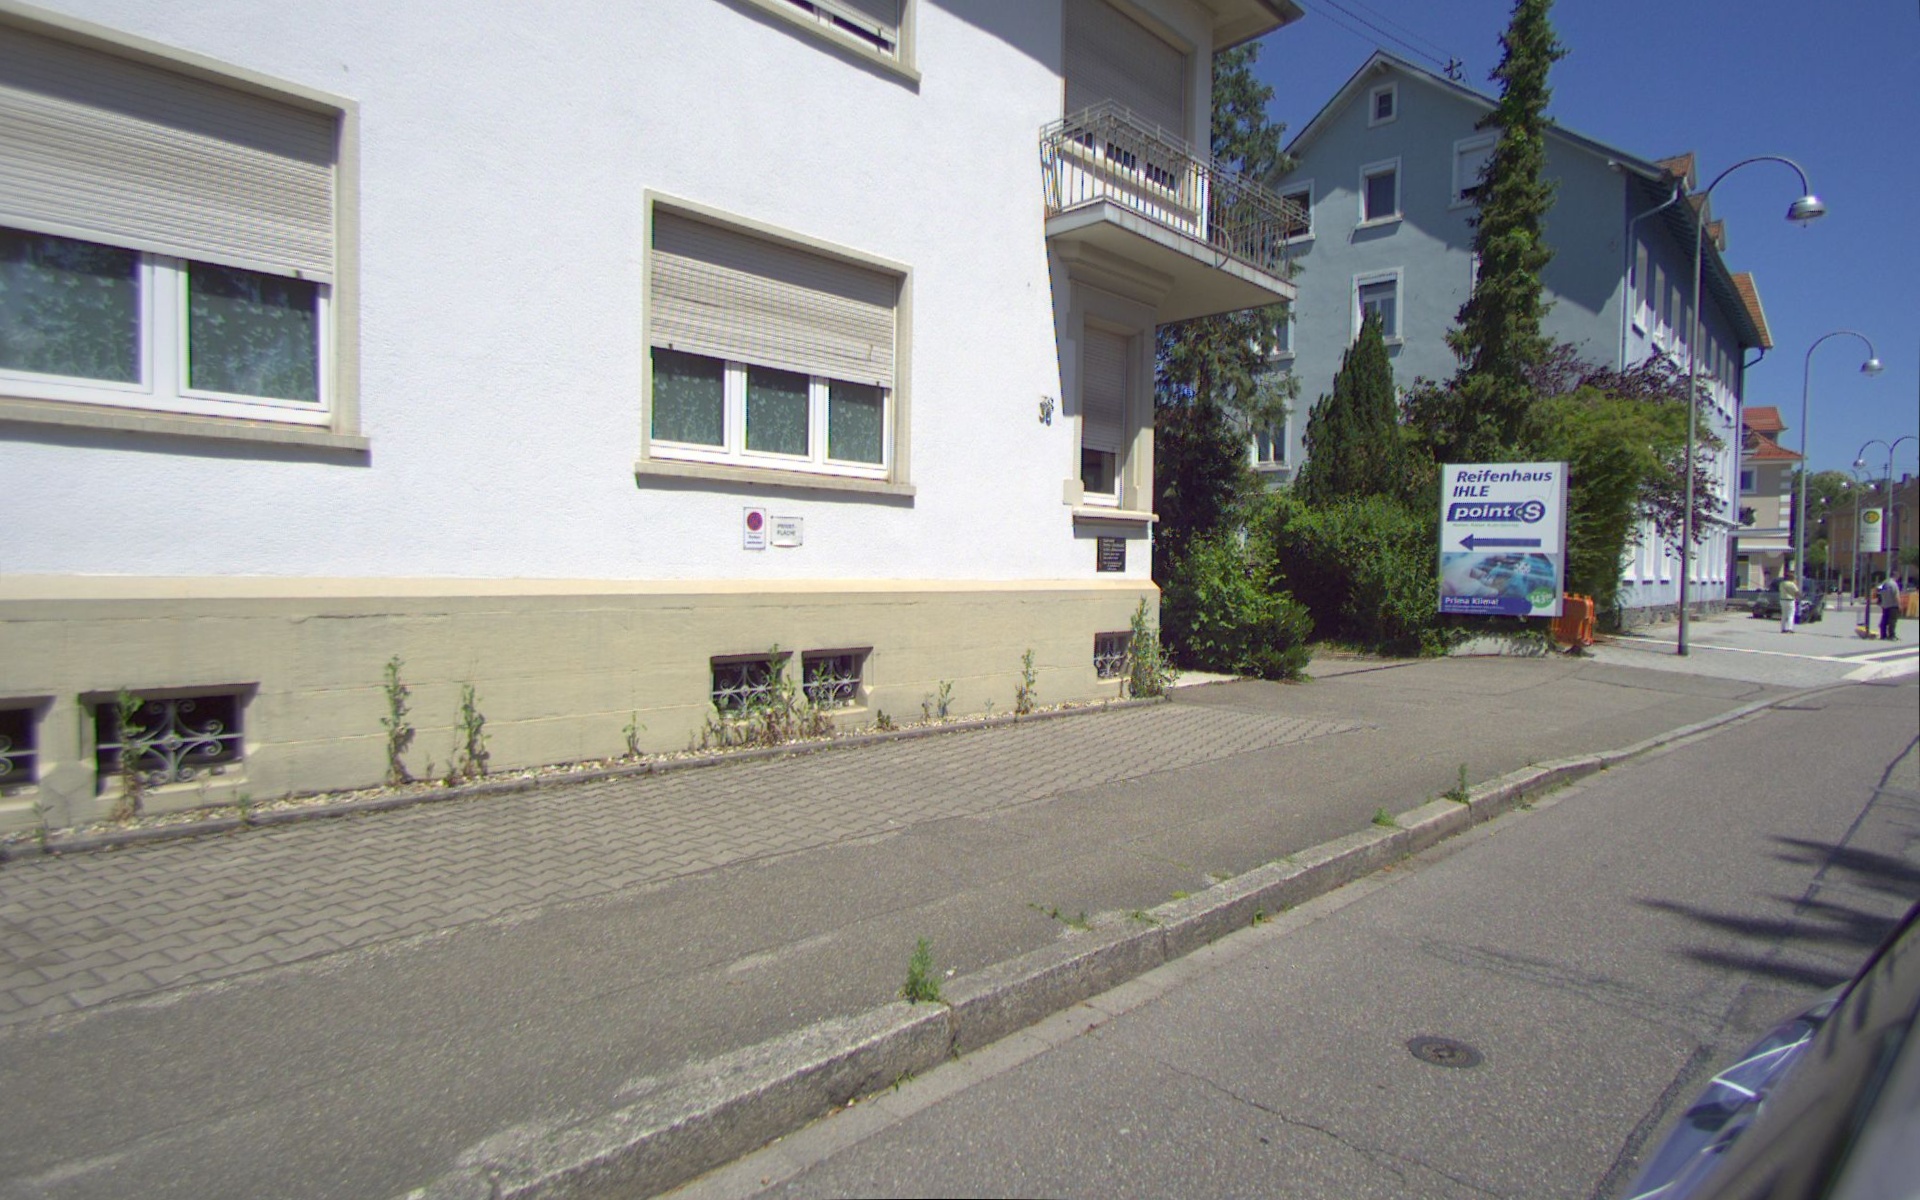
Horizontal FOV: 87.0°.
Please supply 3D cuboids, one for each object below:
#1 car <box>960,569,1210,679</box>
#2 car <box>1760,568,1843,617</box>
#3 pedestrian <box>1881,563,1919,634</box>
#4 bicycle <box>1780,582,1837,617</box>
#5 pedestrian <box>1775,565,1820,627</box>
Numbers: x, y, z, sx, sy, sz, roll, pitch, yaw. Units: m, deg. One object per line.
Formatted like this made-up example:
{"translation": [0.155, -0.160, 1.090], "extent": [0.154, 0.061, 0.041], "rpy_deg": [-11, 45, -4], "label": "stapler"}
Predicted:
{"translation": [1.982, 0.342, 16.975], "extent": [1.767, 1.612, 3.992], "rpy_deg": [-1, 0, -42], "label": "car"}
{"translation": [29.714, -0.314, 35.711], "extent": [3.679, 1.531, 1.761], "rpy_deg": [-1, 6, -44], "label": "car"}
{"translation": [25.202, -0.046, 26.954], "extent": [0.745, 1.826, 0.609], "rpy_deg": [5, 5, 31], "label": "pedestrian"}
{"translation": [27.241, -0.018, 32.483], "extent": [1.844, 1.051, 0.635], "rpy_deg": [1, 4, -25], "label": "bicycle"}
{"translation": [22.763, -0.124, 27.506], "extent": [0.735, 1.635, 0.617], "rpy_deg": [0, 3, -28], "label": "pedestrian"}
